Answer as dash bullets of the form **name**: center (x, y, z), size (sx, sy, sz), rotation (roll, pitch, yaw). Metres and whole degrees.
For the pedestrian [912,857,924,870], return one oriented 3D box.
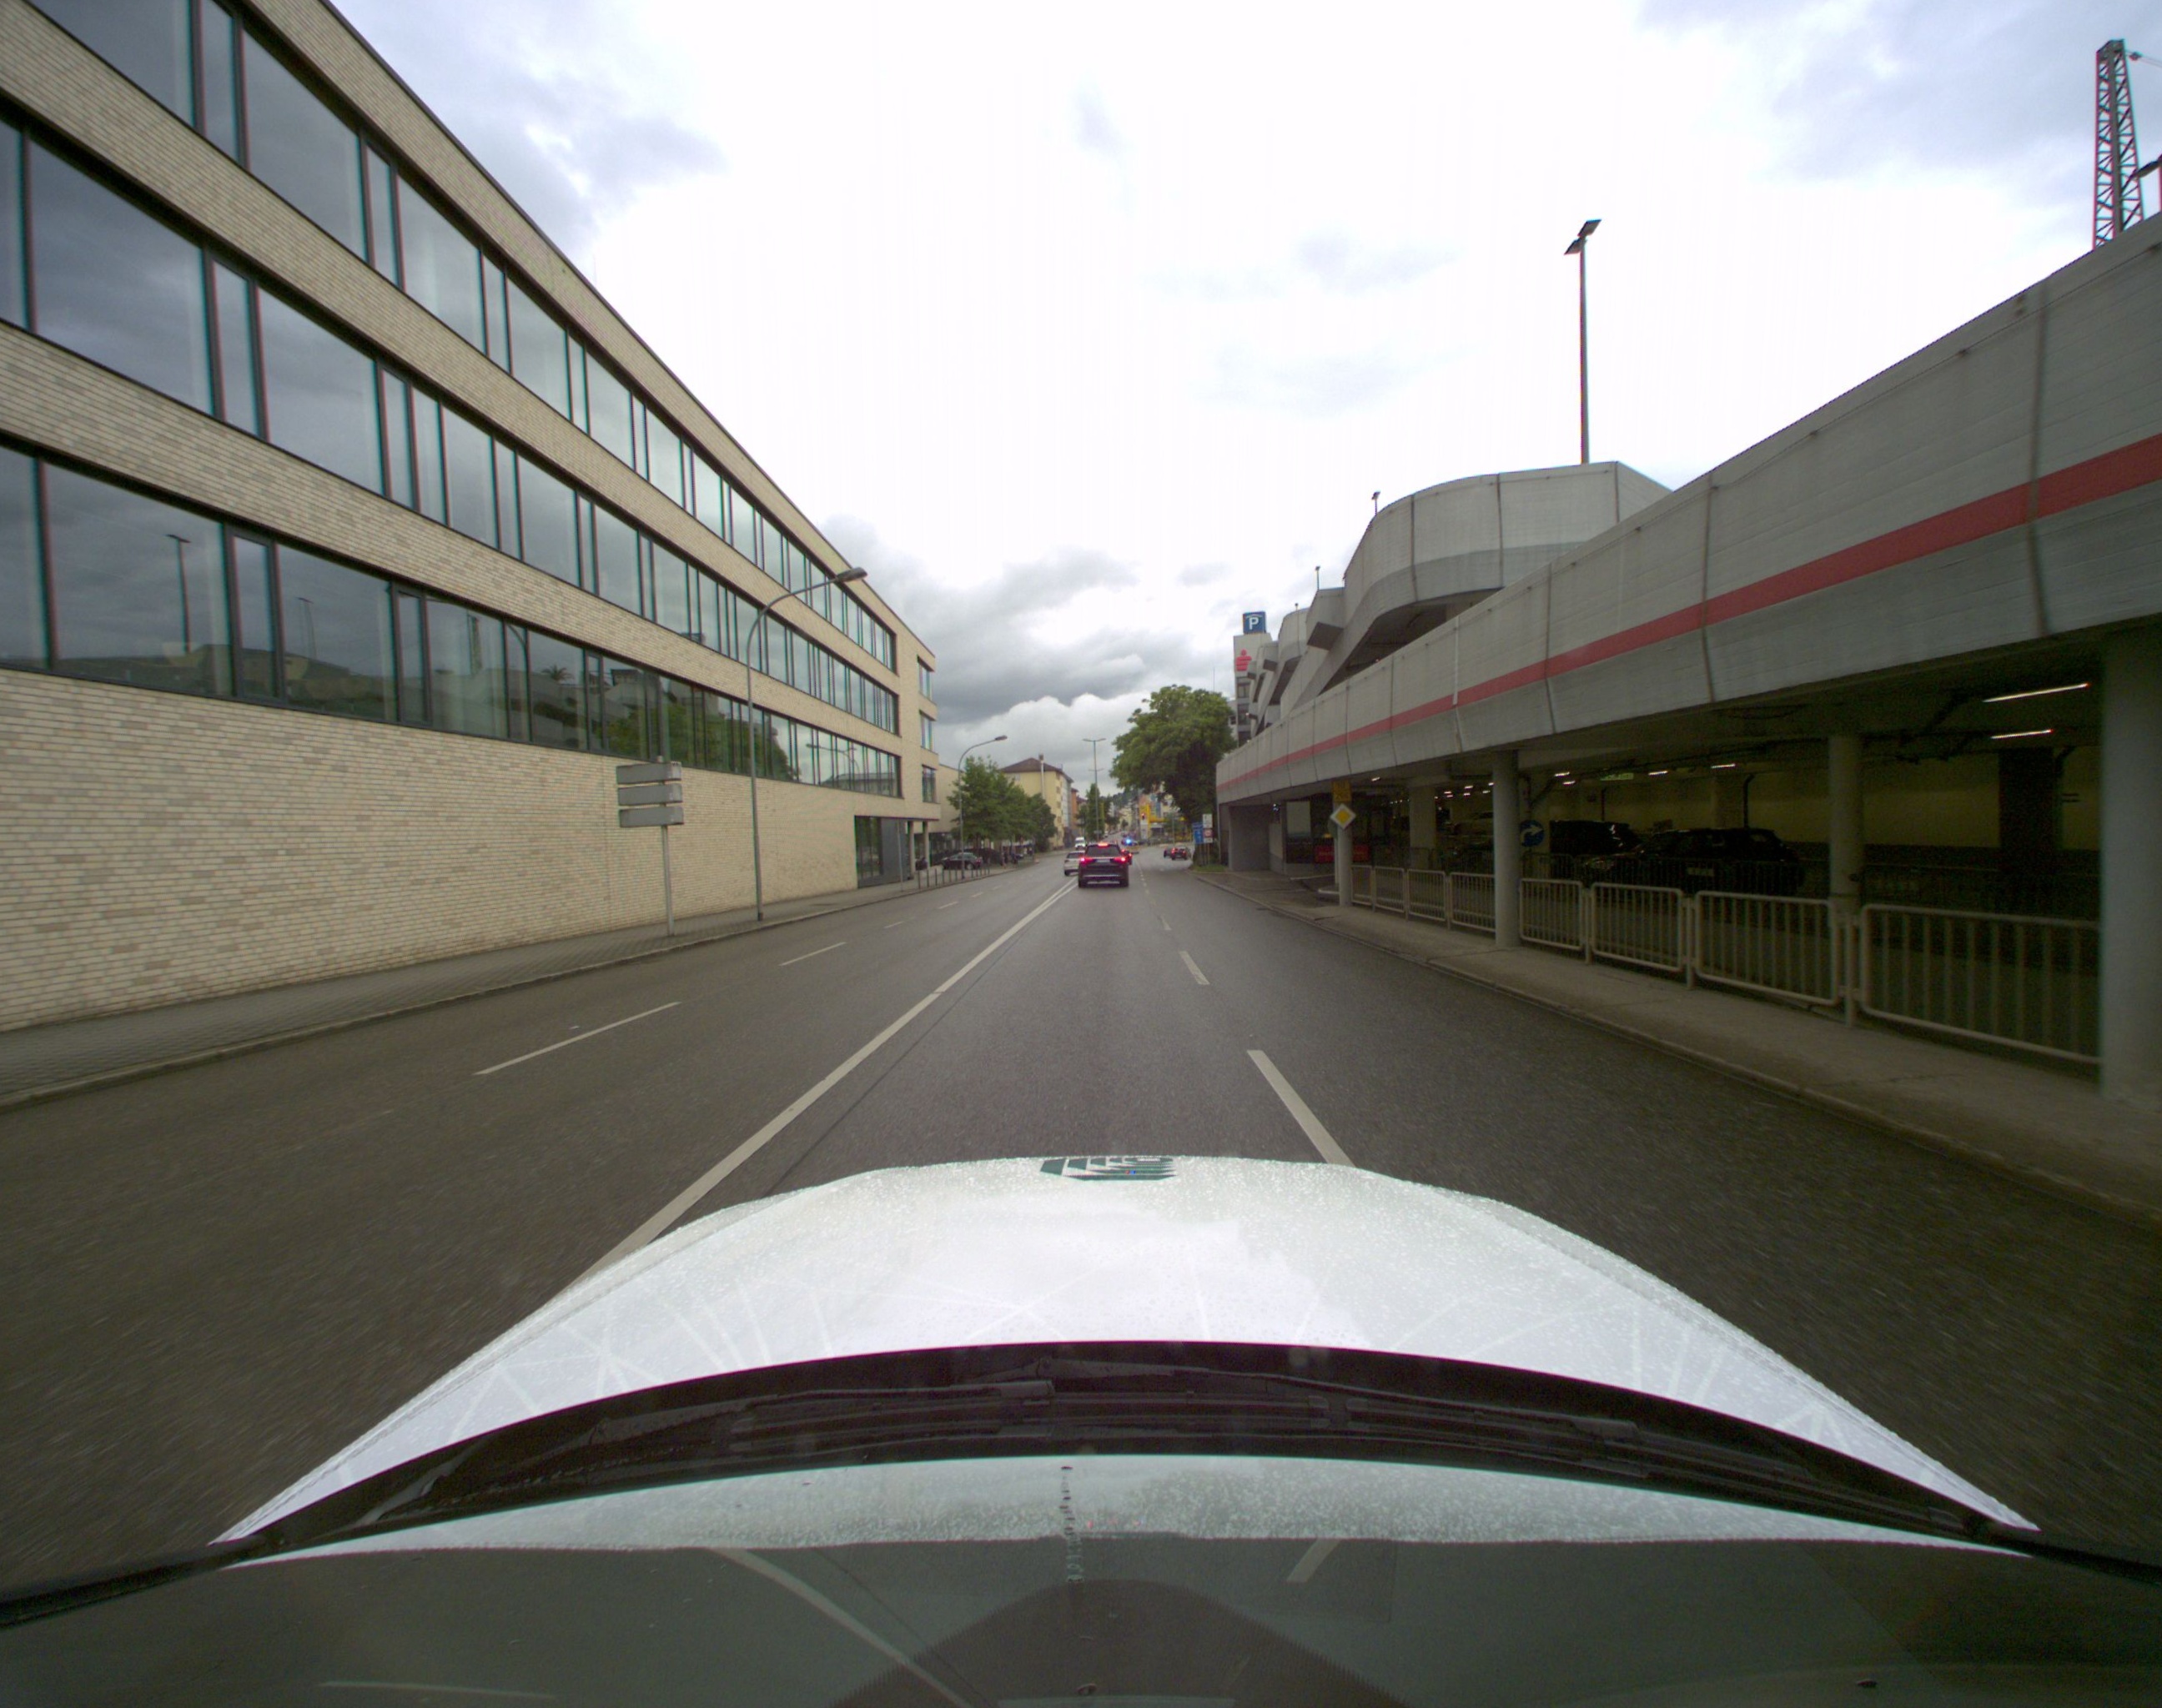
- **pedestrian**: center (-11.392, 0.653, 56.960), size (0.678, 0.886, 0.525), rotation (0, -1, 3)

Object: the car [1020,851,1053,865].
- **car**: center (-6.688, 0.628, 122.553), size (4.796, 2.013, 1.997), rotation (-1, 1, -5)

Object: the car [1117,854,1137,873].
- **car**: center (4.201, 0.880, 74.852), size (1.697, 1.716, 3.443), rotation (0, 0, 0)

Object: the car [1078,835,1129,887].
- **car**: center (0.949, 0.271, 33.678), size (1.986, 2.014, 4.002), rotation (0, 0, 2)

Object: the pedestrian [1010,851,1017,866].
- **pedestrian**: center (-7.874, 0.493, 94.479), size (0.686, 1.726, 0.754), rotation (0, -3, 2)

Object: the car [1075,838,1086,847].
- **car**: center (-0.090, -2.323, 165.826), size (1.986, 1.875, 5.143), rotation (0, 0, 1)

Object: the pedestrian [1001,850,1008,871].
- **pedestrian**: center (-7.585, 0.646, 81.026), size (0.585, 2.014, 0.749), rotation (0, -1, 1)

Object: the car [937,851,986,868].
- **car**: center (-11.464, 0.493, 78.342), size (4.405, 1.573, 1.999), rotation (0, 2, -3)

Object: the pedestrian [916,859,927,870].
- **pedestrian**: center (-11.181, 0.753, 57.019), size (0.595, 0.786, 0.761), rotation (0, -1, 3)

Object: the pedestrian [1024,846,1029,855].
- **pedestrian**: center (-8.620, -0.516, 128.883), size (0.708, 1.462, 0.598), rotation (0, -1, 2)

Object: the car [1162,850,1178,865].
- **car**: center (11.944, 0.448, 109.175), size (1.985, 2.014, 4.004), rotation (0, 0, 3)

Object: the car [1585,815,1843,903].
- **car**: center (12.681, 0.094, 16.571), size (3.699, 1.505, 1.813), rotation (-3, 1, 10)

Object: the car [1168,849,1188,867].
- **car**: center (11.505, 0.436, 96.888), size (1.986, 2.013, 4.001), rotation (-1, 1, 1)

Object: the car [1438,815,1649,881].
- **car**: center (12.086, -0.135, 21.602), size (4.543, 1.640, 1.829), rotation (0, -1, 14)

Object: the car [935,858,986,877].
- **car**: center (-11.234, 1.209, 76.126), size (4.458, 1.587, 1.998), rotation (-2, 0, -4)

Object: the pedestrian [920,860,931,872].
- **pedestrian**: center (-11.071, 0.823, 57.916), size (0.584, 0.845, 0.728), rotation (-1, -1, 3)

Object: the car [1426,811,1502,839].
- **car**: center (23.767, -1.792, 50.708), size (3.960, 1.640, 2.007), rotation (0, -1, 12)

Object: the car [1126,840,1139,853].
- **car**: center (7.858, -1.105, 124.336), size (1.986, 2.014, 4.002), rotation (0, 0, 2)

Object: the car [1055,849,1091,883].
- **car**: center (-0.458, 0.728, 49.972), size (1.986, 2.014, 4.002), rotation (0, 0, 2)
